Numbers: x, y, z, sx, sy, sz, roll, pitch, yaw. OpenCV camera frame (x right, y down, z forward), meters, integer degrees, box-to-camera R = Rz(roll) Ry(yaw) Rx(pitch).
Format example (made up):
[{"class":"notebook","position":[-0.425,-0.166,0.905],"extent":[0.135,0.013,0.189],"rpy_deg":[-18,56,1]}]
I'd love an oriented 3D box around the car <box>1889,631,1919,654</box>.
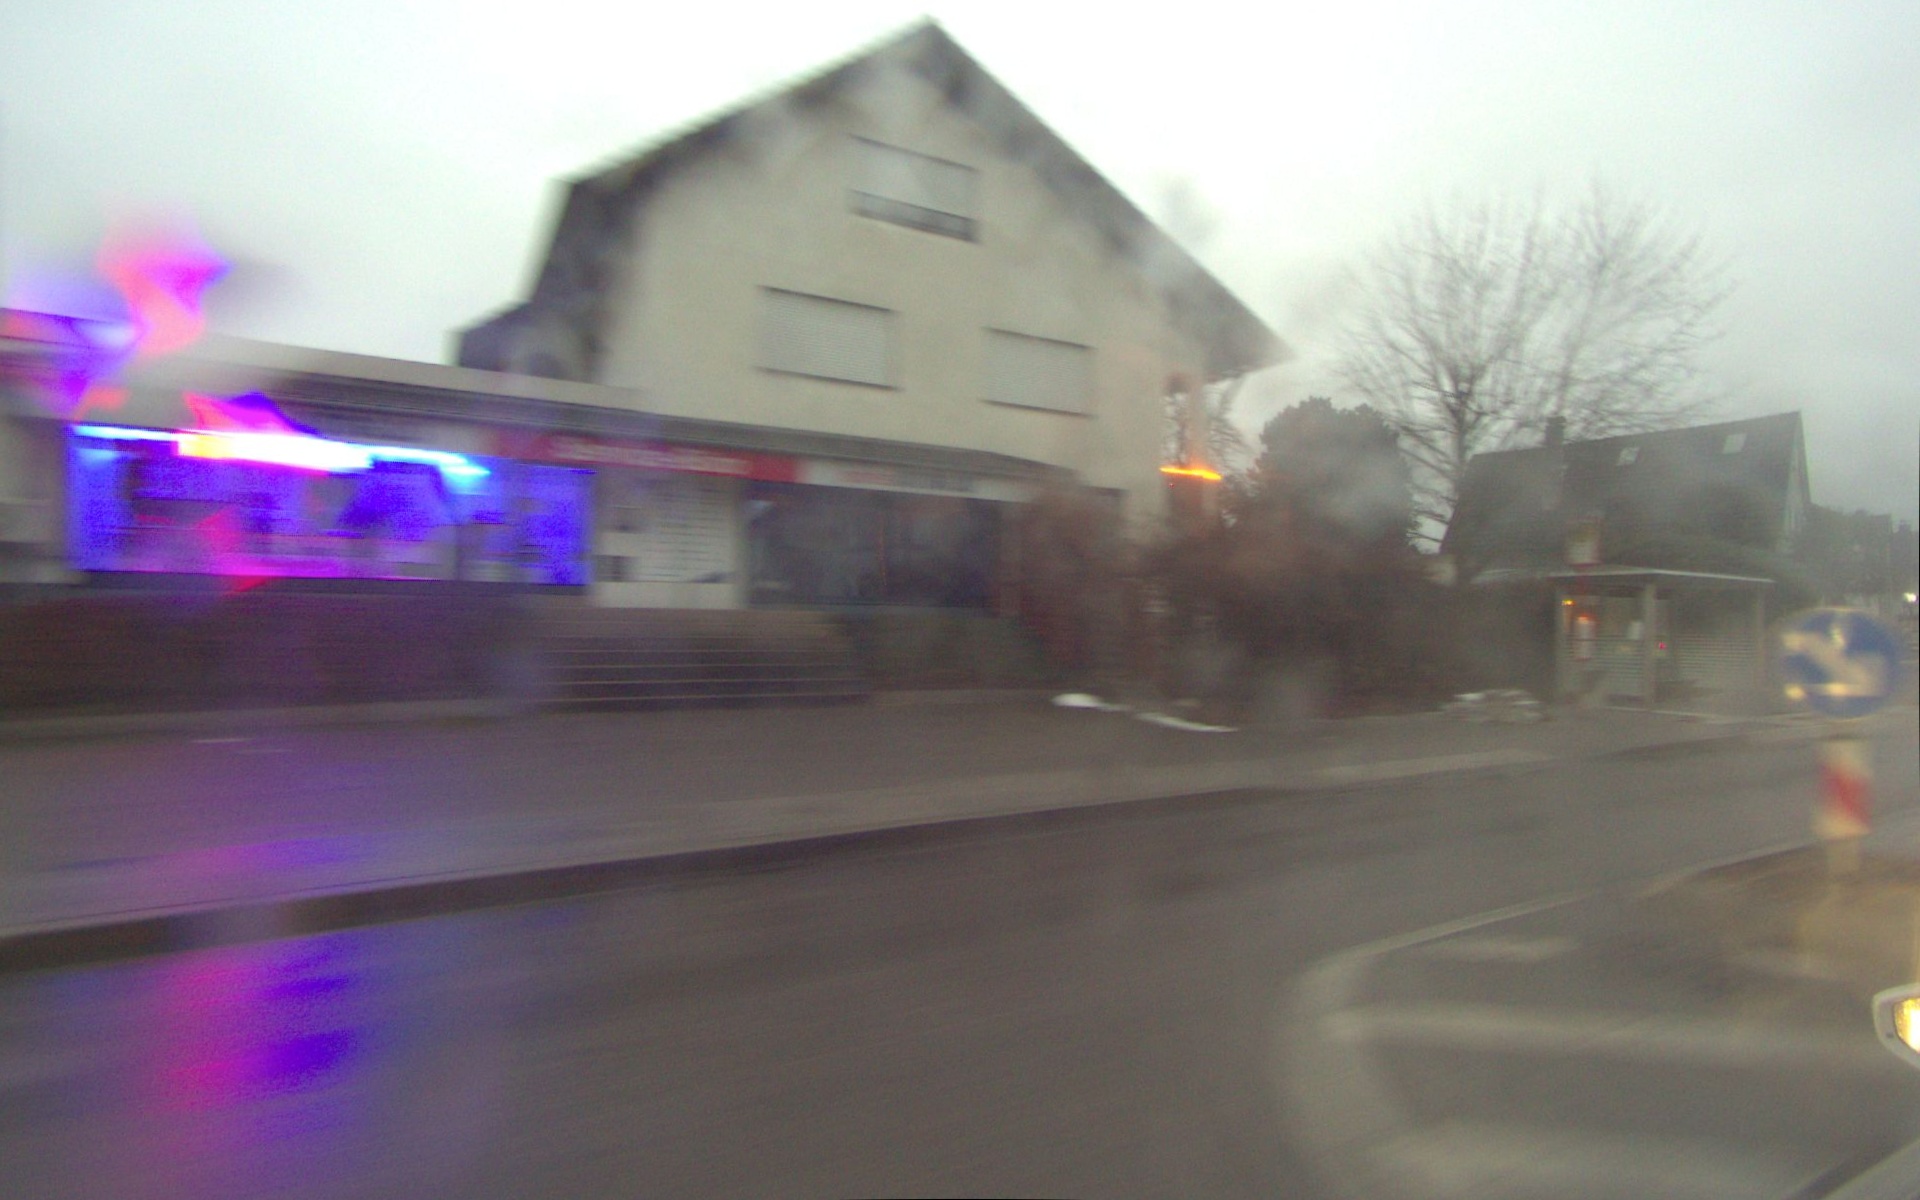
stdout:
[{"class":"car","position":[61.723,2.775,65.162],"extent":[1.755,1.411,3.984],"rpy_deg":[2,0,38]}]
